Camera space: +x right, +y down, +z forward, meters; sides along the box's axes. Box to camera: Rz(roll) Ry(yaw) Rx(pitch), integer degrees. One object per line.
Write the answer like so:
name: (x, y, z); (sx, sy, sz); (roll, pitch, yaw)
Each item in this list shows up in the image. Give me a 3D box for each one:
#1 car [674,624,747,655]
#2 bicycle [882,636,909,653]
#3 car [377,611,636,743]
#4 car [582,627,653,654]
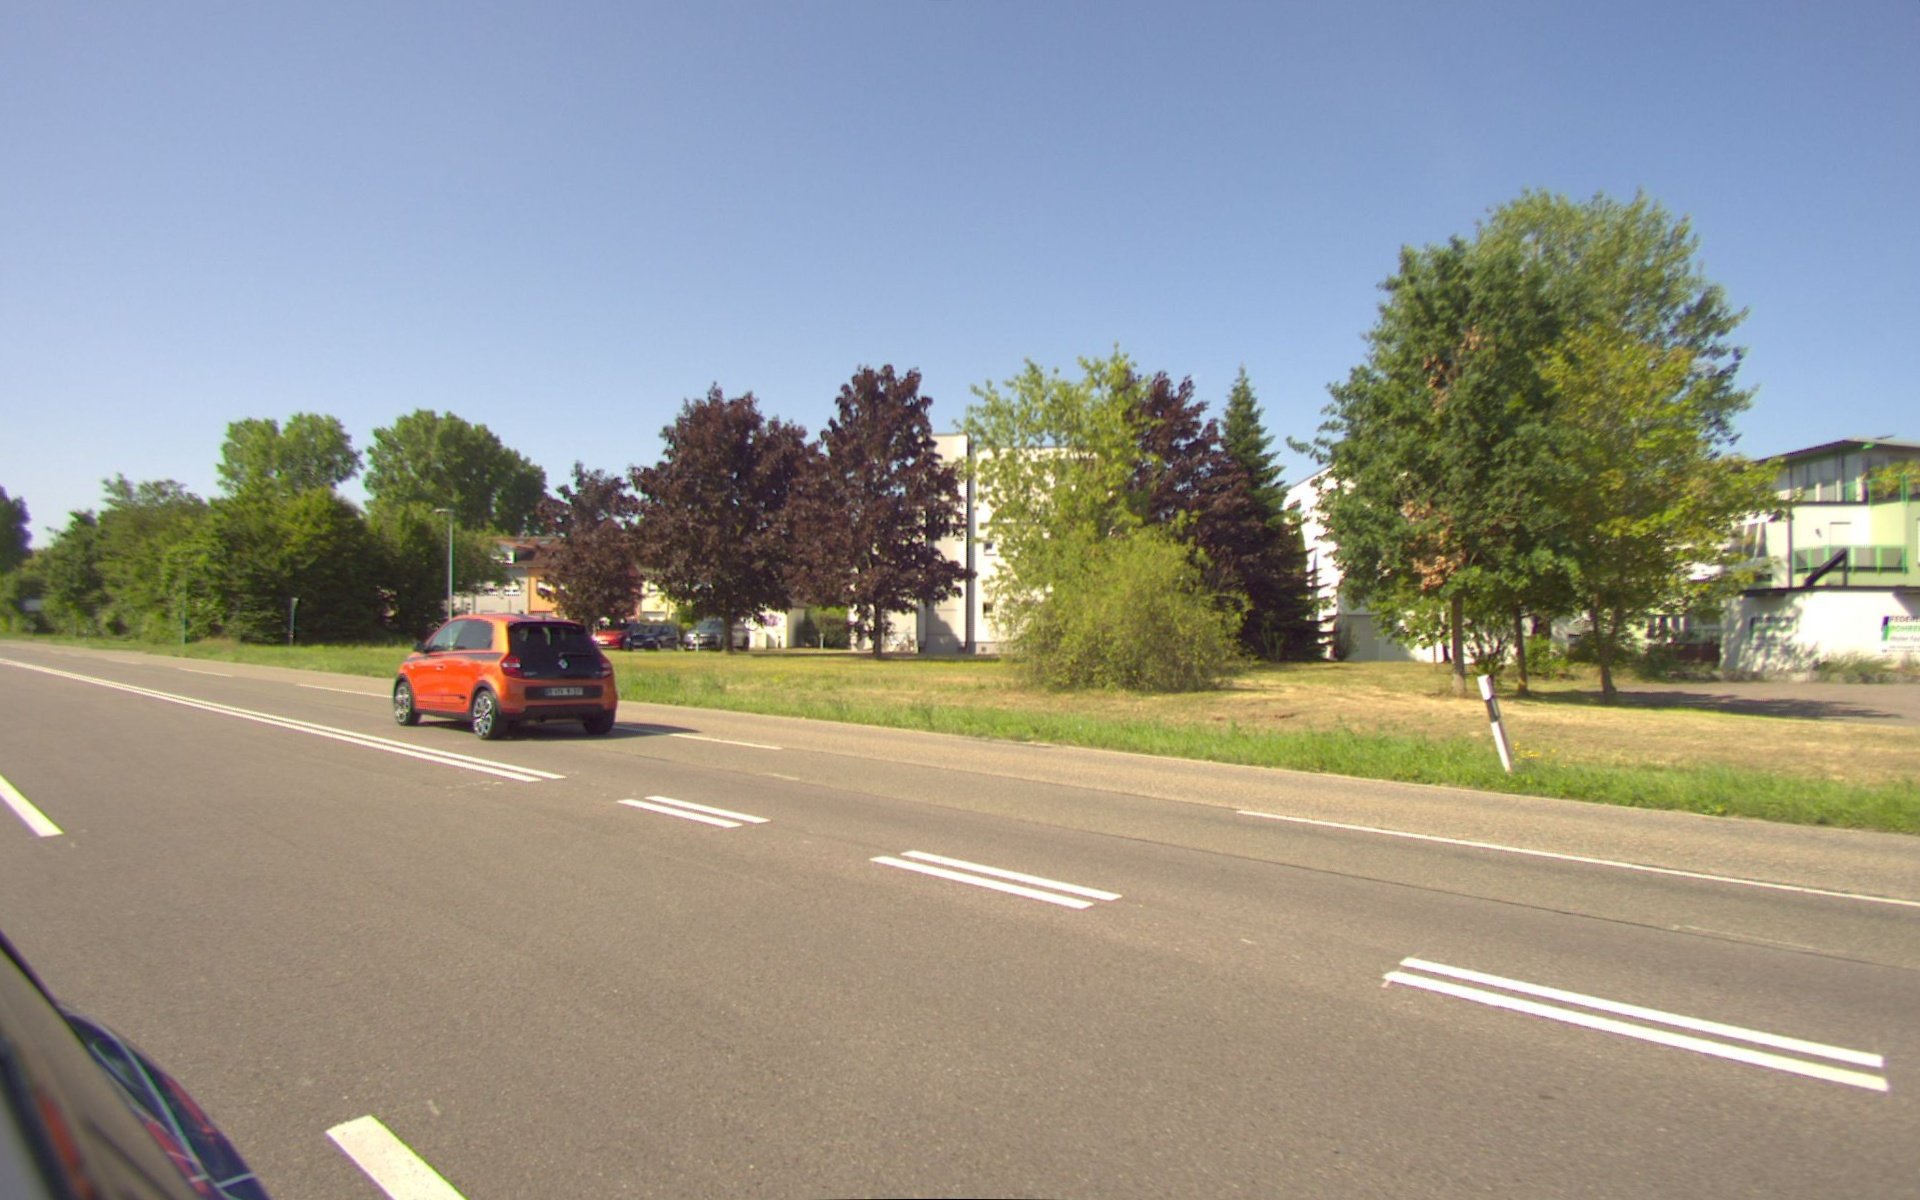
car: (-11.586, 1.863, 47.243); (1.803, 1.381, 3.985); (-1, -3, 11)
bicycle: (-3.172, 2.186, 49.607); (1.238, 0.818, 0.408); (-1, -1, 18)
car: (-6.100, 0.955, 13.436); (3.842, 1.509, 1.633); (-1, -4, 41)
car: (-17.831, 2.123, 52.922); (1.803, 1.381, 3.985); (-1, -3, 11)
